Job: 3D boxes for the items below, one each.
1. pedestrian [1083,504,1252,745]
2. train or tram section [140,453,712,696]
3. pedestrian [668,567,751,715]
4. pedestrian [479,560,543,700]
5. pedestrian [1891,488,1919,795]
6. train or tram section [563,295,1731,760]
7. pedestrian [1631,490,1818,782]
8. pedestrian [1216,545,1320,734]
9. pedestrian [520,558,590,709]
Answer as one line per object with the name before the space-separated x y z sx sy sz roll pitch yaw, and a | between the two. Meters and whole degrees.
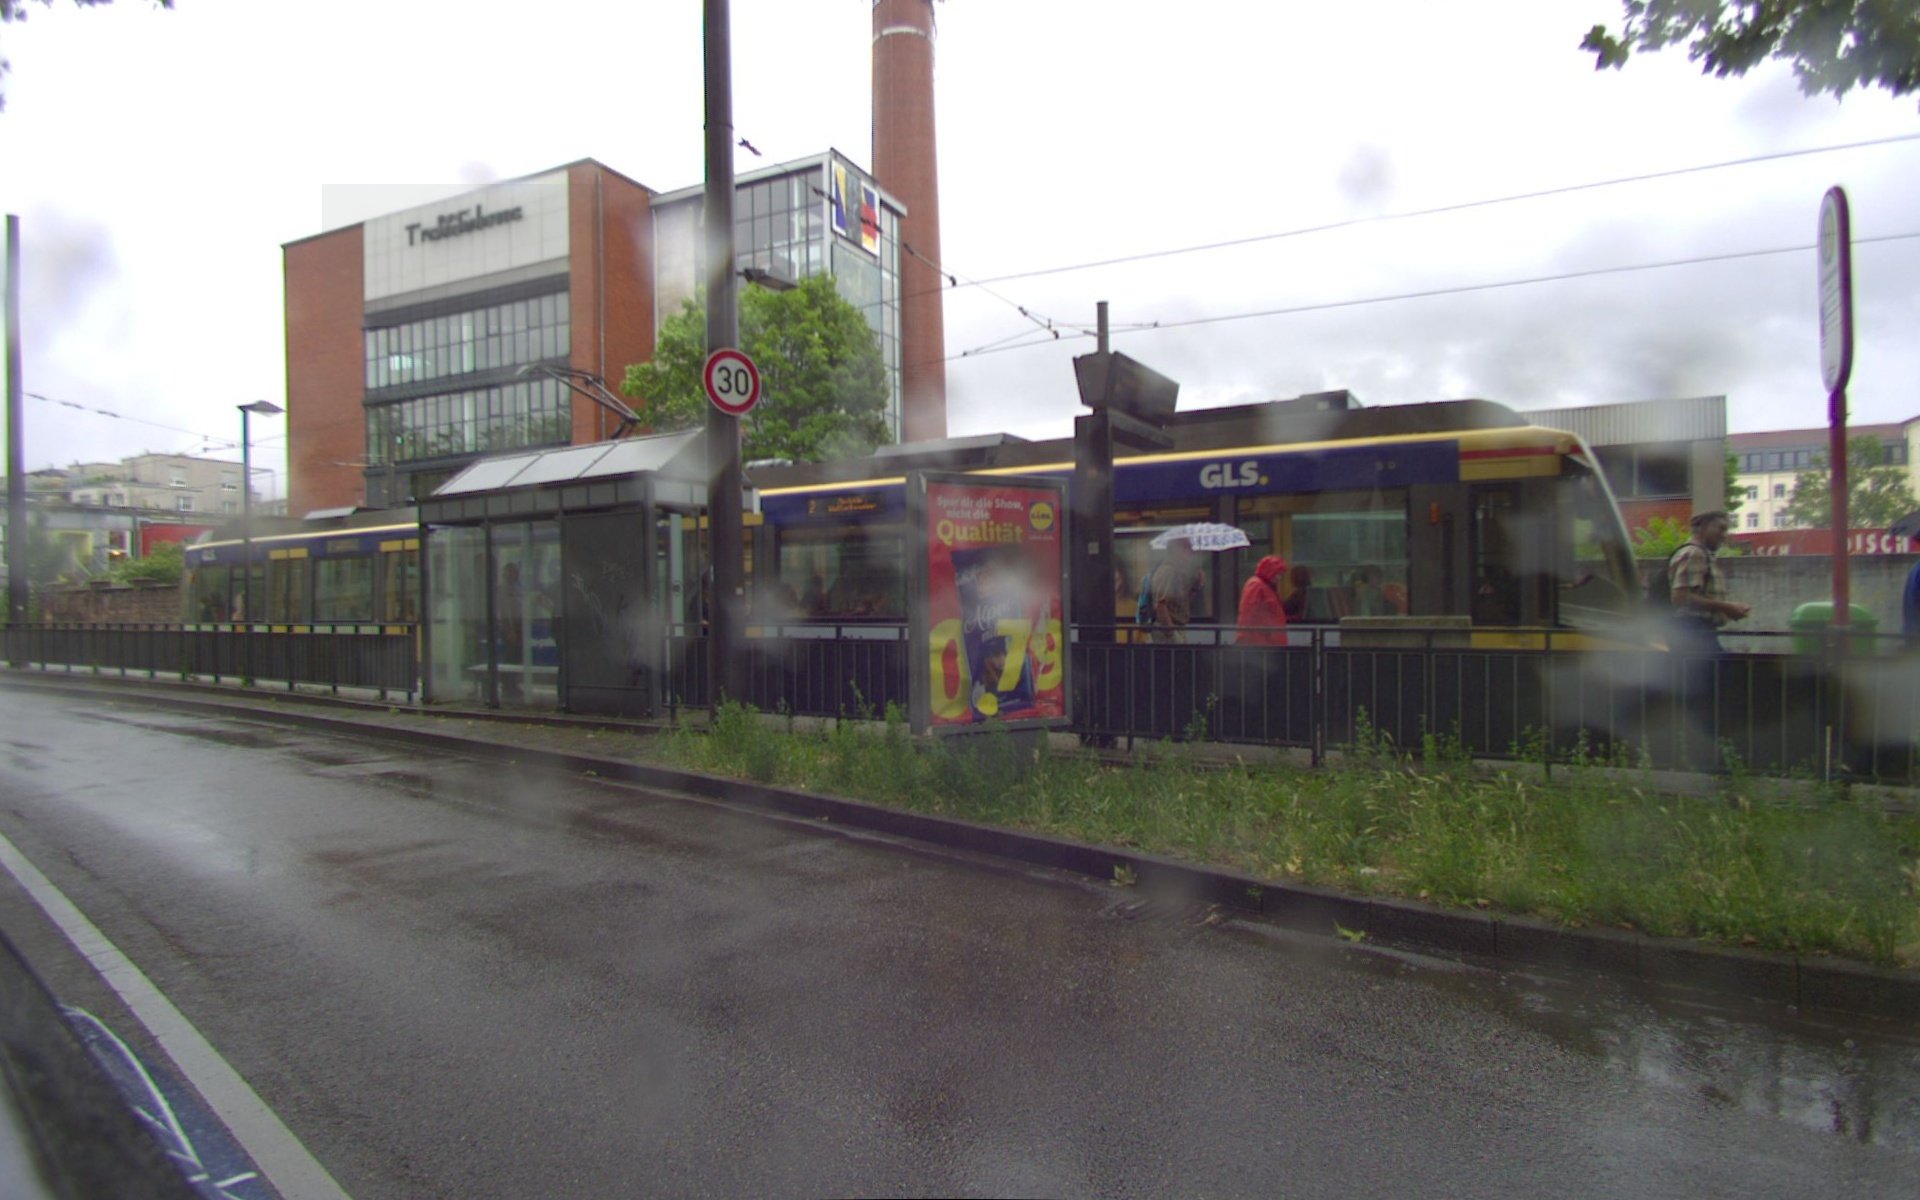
pedestrian | 1.739 0.227 8.447 1.072 1.840 0.975 -4 -4 30
train or tram section | -11.470 -0.260 20.183 15.323 3.572 2.838 -1 0 32
pedestrian | -2.837 0.473 11.486 0.504 1.610 0.790 -4 -4 30
pedestrian | -5.813 0.374 13.115 0.620 1.762 0.515 -1 0 -41
pedestrian | 6.267 0.255 5.997 0.888 1.878 0.863 -1 0 30
train or tram section | 0.755 -0.460 12.548 13.666 3.572 2.839 -1 0 31
pedestrian | 5.024 0.223 6.724 0.827 1.768 0.859 -1 0 28
pedestrian | 2.715 0.358 8.998 0.651 1.584 0.797 -2 -3 4
pedestrian | -4.917 0.391 12.278 0.620 1.762 0.565 -1 0 -41
